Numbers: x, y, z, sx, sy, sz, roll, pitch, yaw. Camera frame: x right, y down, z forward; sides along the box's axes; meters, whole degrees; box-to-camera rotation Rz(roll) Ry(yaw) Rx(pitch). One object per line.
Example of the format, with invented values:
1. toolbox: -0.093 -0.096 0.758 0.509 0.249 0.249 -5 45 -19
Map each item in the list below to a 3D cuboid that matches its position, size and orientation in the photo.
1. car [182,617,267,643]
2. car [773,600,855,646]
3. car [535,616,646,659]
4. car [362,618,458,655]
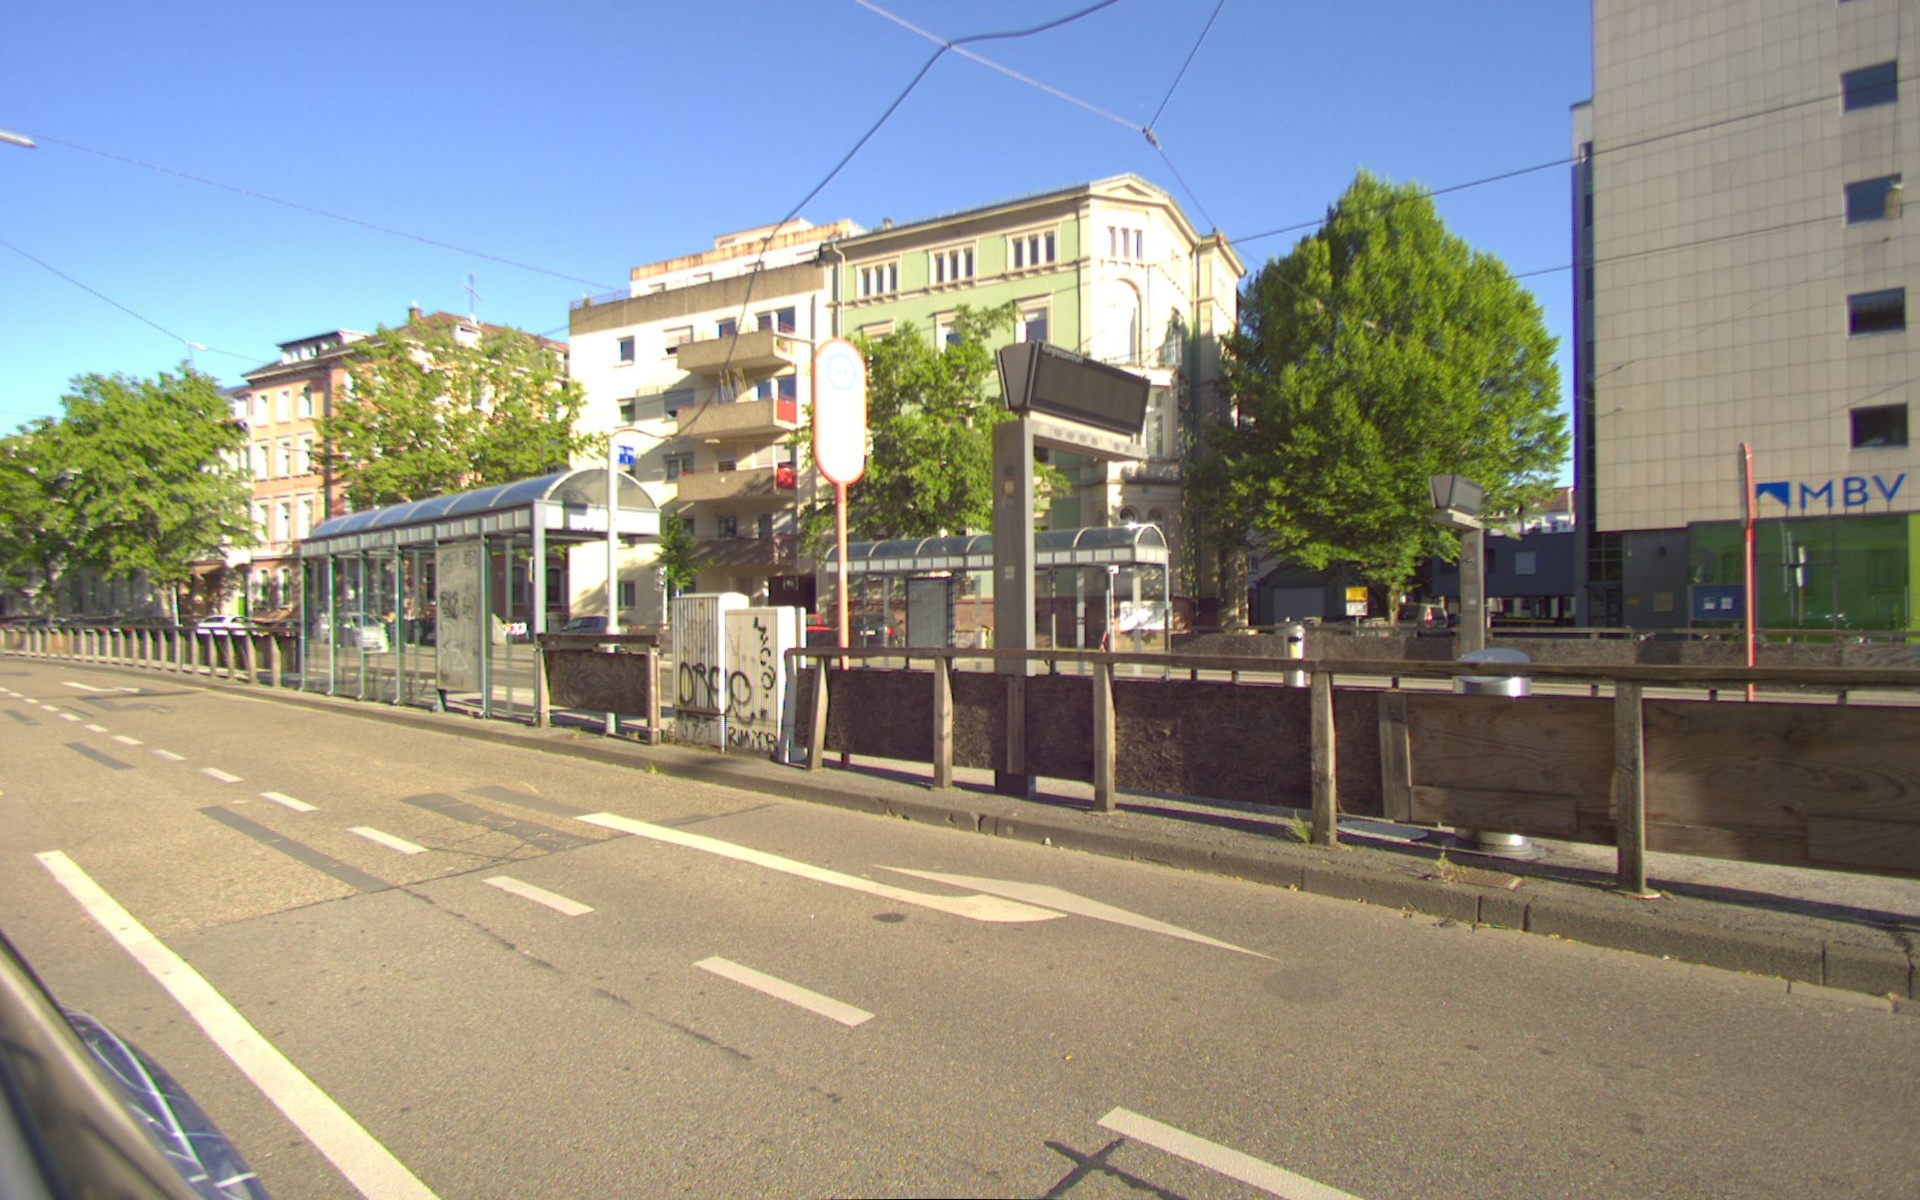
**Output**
1. car: -39.207 1.575 54.031 1.565 1.360 3.631 0 -1 11
2. car: -6.623 1.053 46.210 1.791 2.029 3.963 -1 -1 27
3. car: -14.130 1.408 38.643 3.987 1.541 1.978 -1 -2 32
4. car: -23.815 1.559 43.771 3.987 1.541 1.978 -1 -2 32
